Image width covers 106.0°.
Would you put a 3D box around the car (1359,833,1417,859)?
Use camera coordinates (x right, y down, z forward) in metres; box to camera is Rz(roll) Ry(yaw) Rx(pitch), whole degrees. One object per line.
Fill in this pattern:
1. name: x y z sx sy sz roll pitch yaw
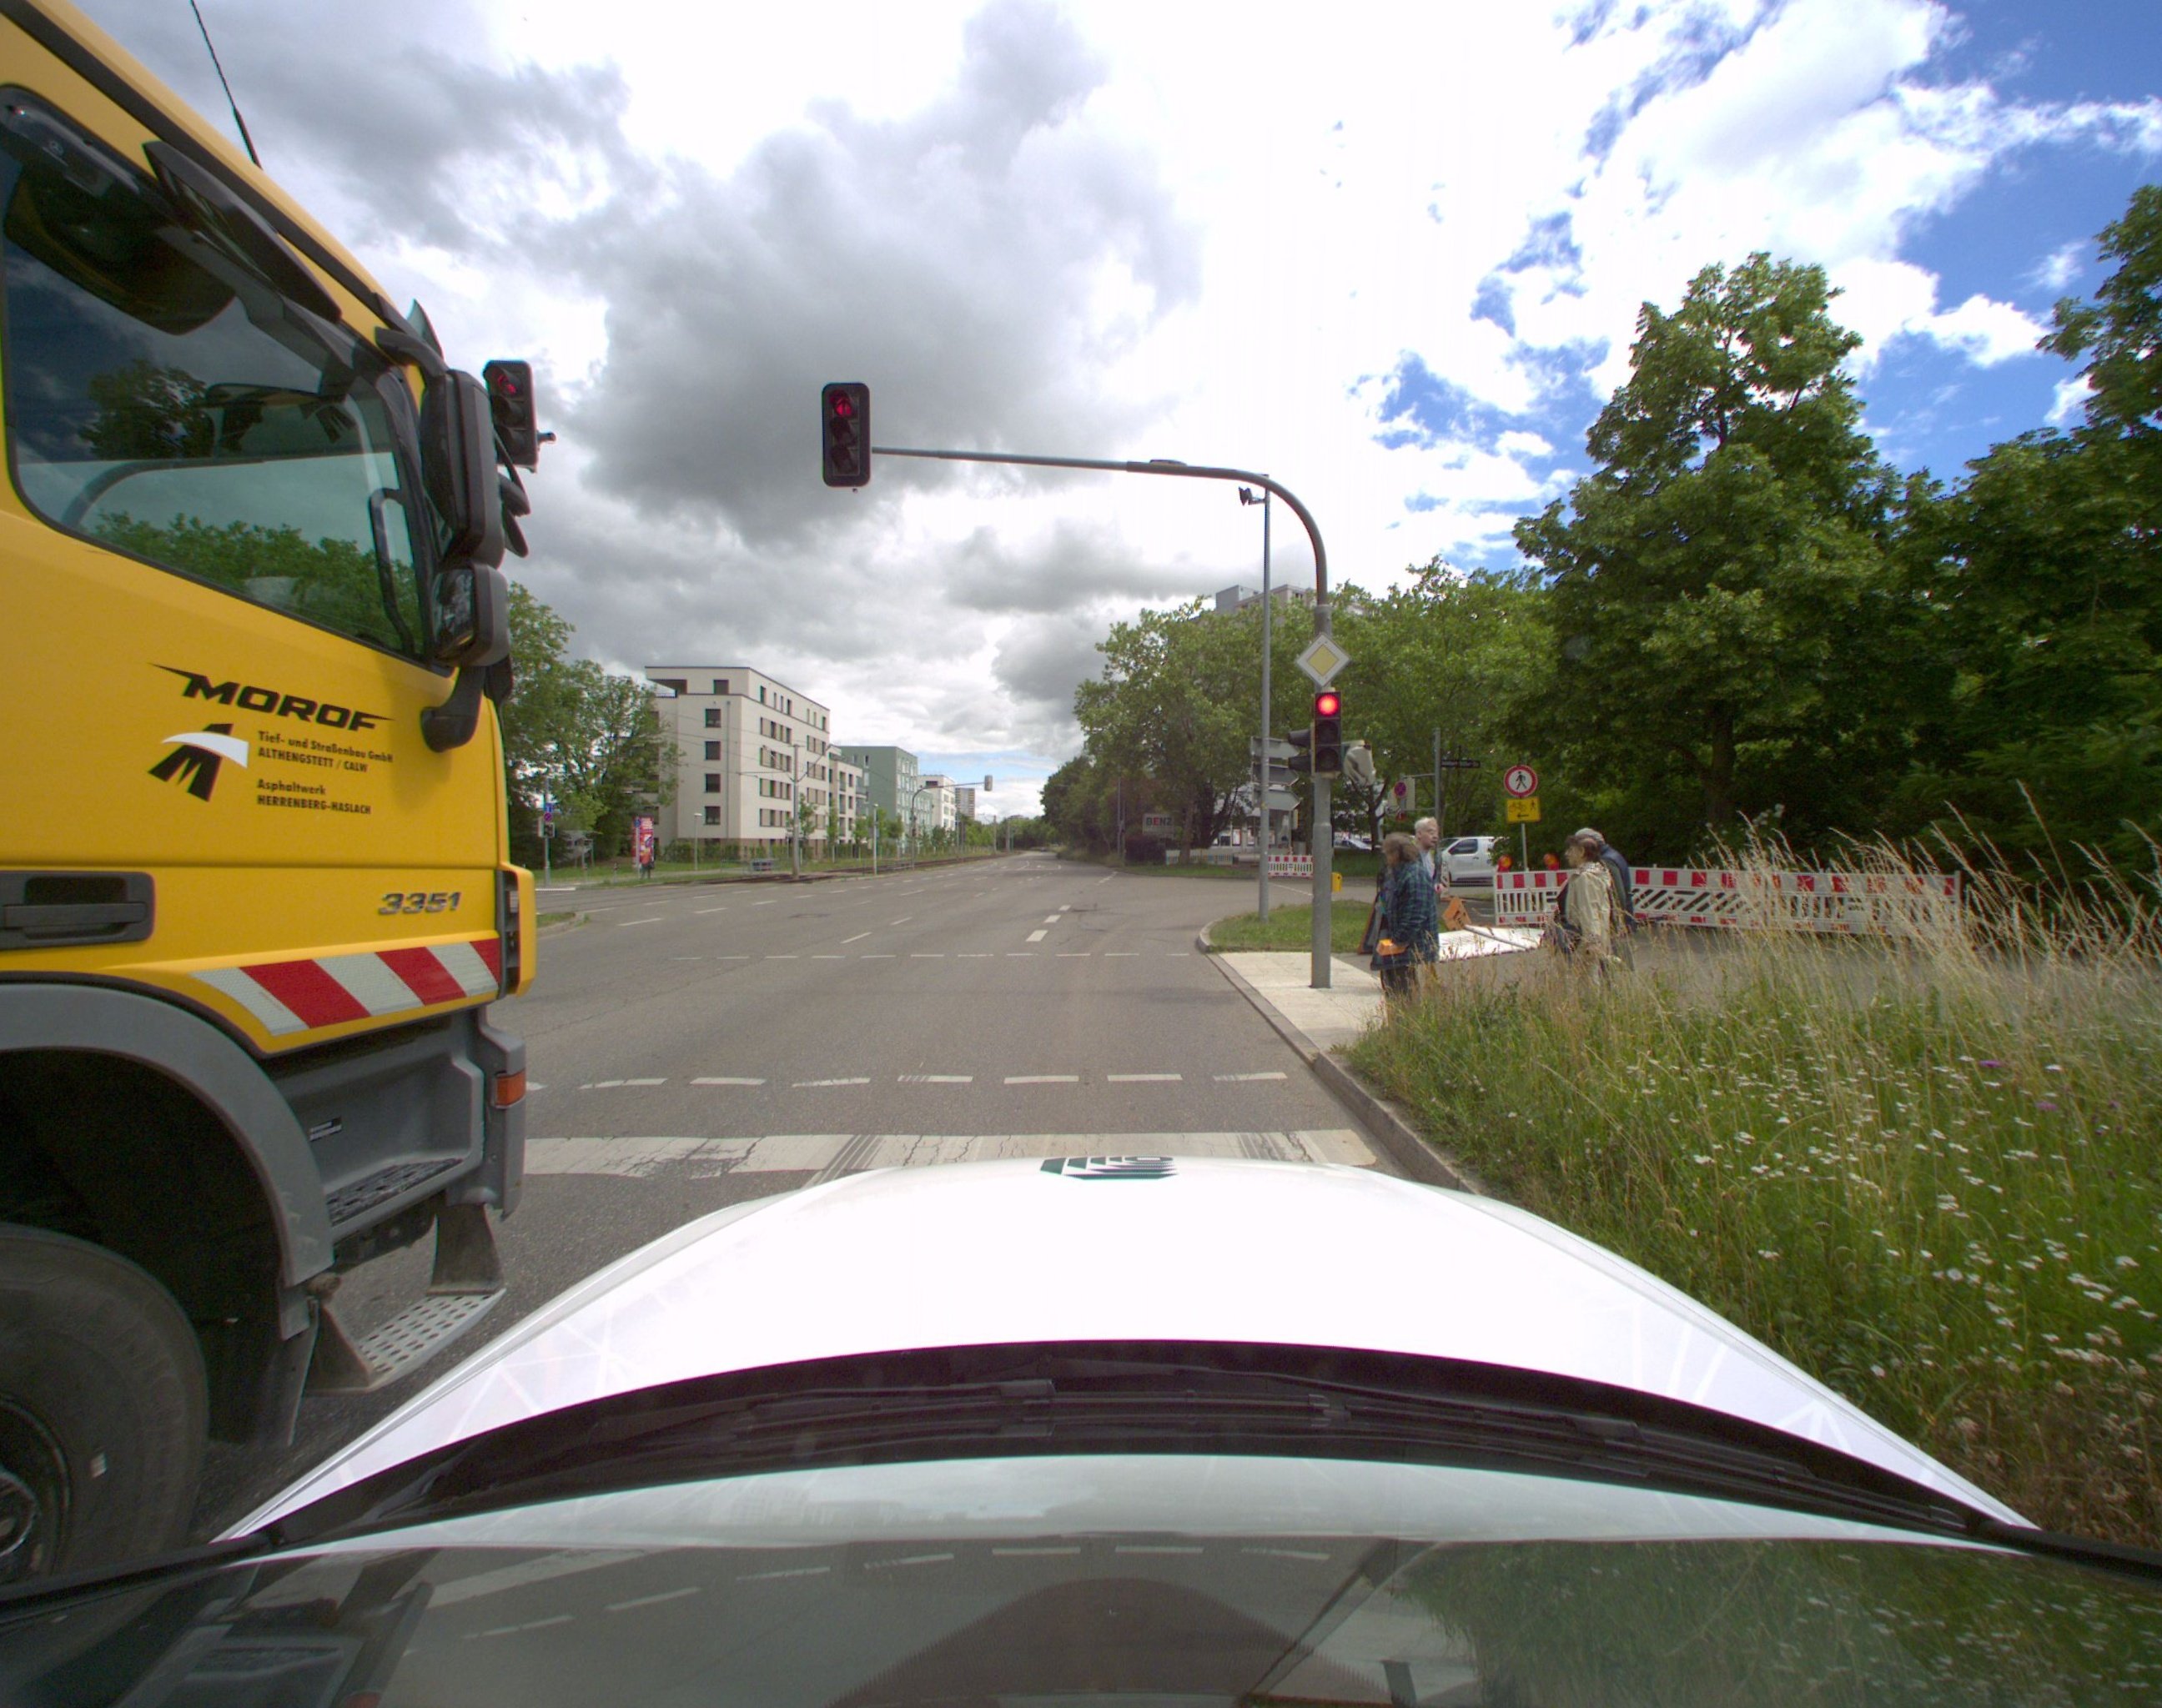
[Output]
1. car: 24.590 -0.610 65.302 2.006 2.013 3.962 -1 0 -29

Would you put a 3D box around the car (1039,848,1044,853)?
1. car: -12.805 -1.112 262.945 1.590 1.354 3.996 0 0 -3

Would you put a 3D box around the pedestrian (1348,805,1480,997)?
1. pedestrian: 3.368 0.431 8.220 1.000 1.774 0.954 0 0 38

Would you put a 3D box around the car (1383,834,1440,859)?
1. car: 27.302 -0.619 67.439 2.006 2.013 3.962 -1 0 -29

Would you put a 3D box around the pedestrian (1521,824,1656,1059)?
1. pedestrian: 3.848 0.608 6.216 0.814 1.640 0.738 0 0 31

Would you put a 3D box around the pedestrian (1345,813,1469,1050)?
1. pedestrian: 2.466 0.545 6.217 0.815 1.671 0.737 -1 0 19

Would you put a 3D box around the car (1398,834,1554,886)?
1. car: 14.952 0.219 31.014 5.063 1.874 1.947 -1 0 -2

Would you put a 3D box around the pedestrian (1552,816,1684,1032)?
1. pedestrian: 4.414 0.528 6.736 0.860 1.634 0.770 0 0 32

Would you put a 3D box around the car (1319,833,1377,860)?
1. car: 20.562 -0.595 62.816 2.006 2.013 3.962 -1 0 -29

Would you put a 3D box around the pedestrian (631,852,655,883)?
1. pedestrian: -21.915 0.673 40.767 0.827 1.516 0.636 -1 0 1
